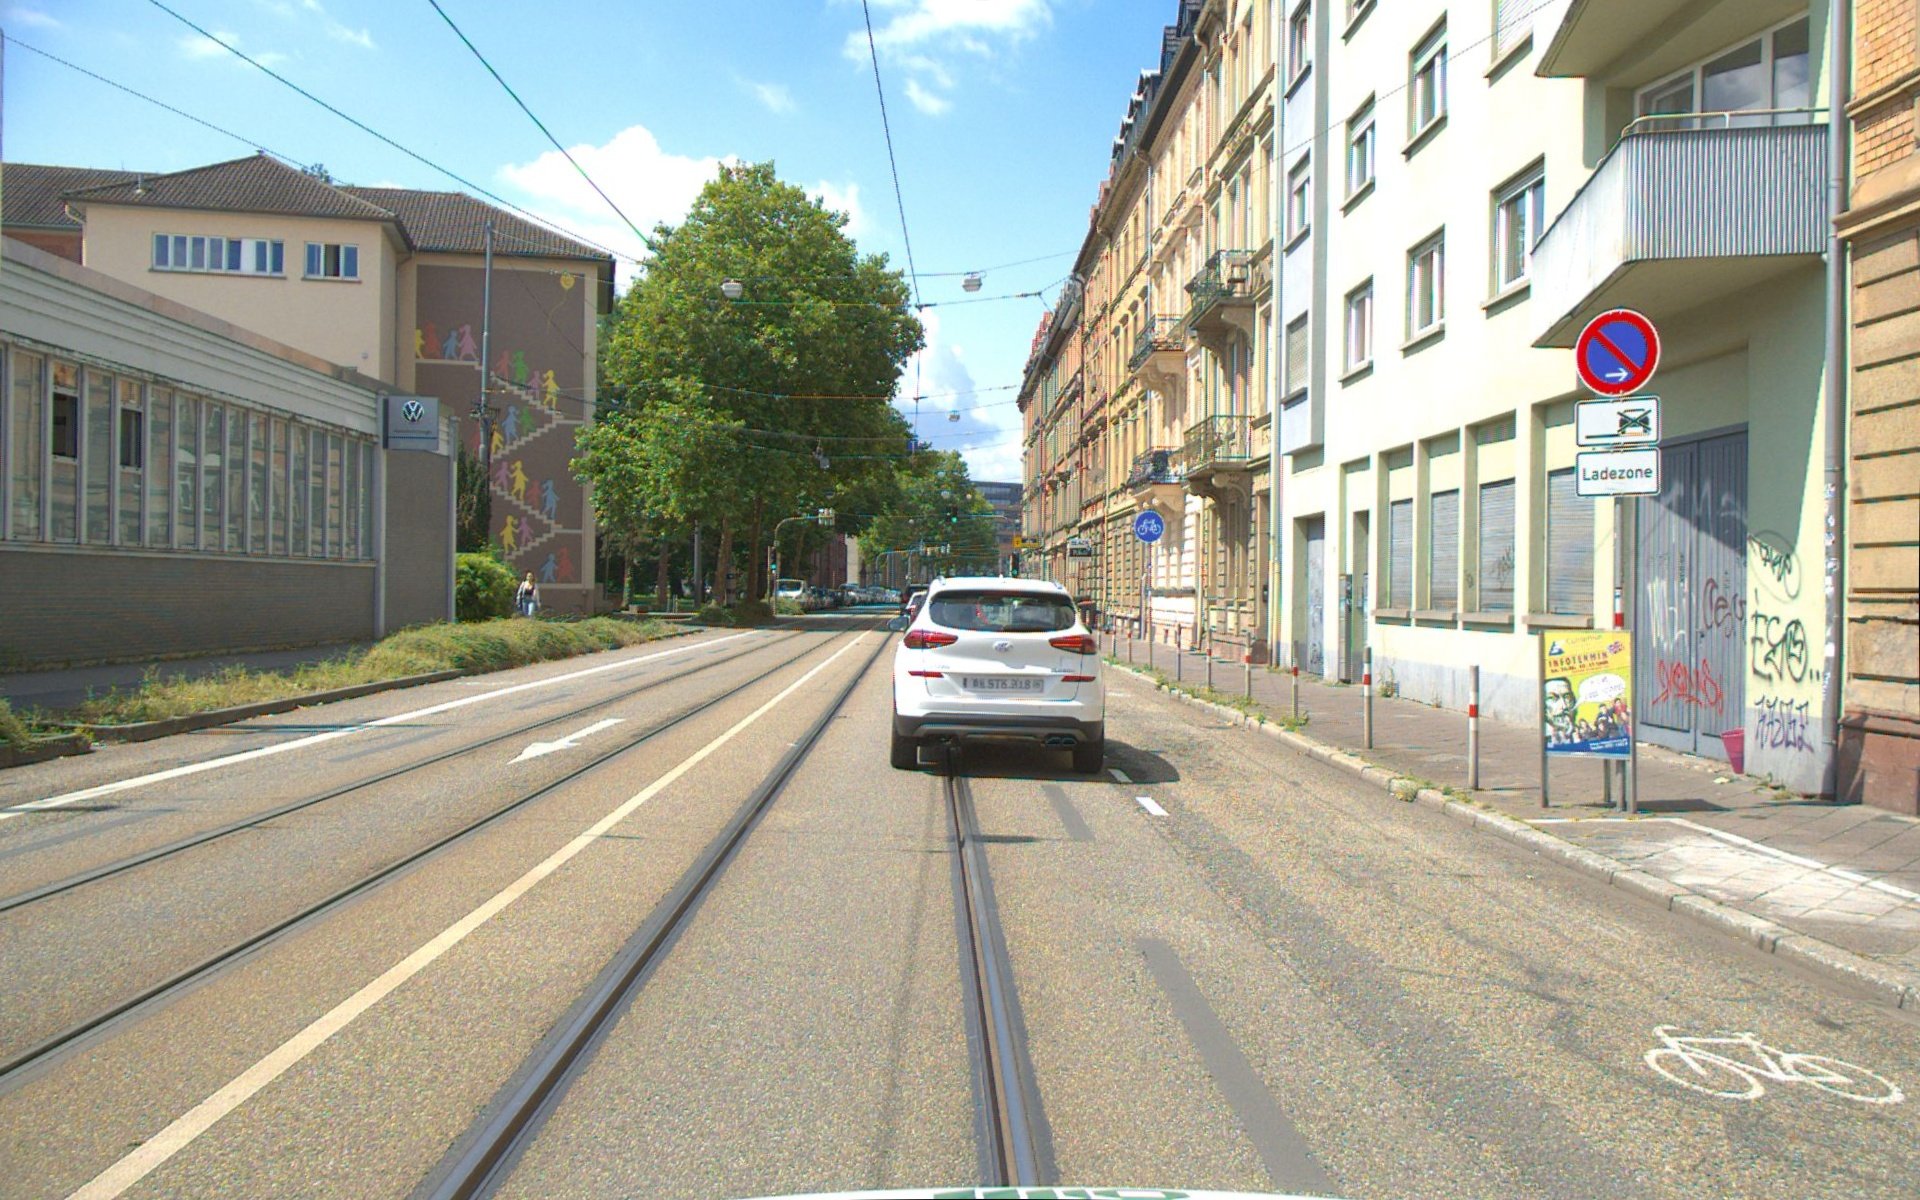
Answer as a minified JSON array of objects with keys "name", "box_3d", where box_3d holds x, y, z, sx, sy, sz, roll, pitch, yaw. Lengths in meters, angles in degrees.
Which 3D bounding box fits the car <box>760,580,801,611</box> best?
[{"name":"car","box_3d":[-10.176,-0.261,94.062,1.910,1.660,4.574,1,0,-1]}]

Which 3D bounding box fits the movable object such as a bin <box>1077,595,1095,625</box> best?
[{"name":"movable object such as a bin","box_3d":[4.921,0.377,64.572,0.600,1.163,0.638,1,0,-1]}]

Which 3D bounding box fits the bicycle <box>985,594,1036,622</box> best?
[{"name":"bicycle","box_3d":[2.219,0.353,72.901,2.222,1.164,0.584,1,0,-4]}]

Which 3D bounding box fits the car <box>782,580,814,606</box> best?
[{"name":"car","box_3d":[-10.500,-0.457,107.292,1.911,1.660,3.997,1,0,-4]}]

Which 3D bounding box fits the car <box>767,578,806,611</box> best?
[{"name":"car","box_3d":[-10.469,-0.335,100.075,1.910,1.928,4.564,1,0,-1]}]

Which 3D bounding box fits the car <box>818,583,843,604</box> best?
[{"name":"car","box_3d":[-10.420,-0.519,133.013,1.911,1.660,3.997,1,0,-4]}]

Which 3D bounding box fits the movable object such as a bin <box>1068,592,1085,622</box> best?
[{"name":"movable object such as a bin","box_3d":[4.635,0.272,65.995,0.600,1.163,0.638,1,0,-1]}]

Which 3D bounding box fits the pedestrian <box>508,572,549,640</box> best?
[{"name":"pedestrian","box_3d":[-12.171,0.155,46.640,0.862,1.898,1.081,-1,0,-1]}]

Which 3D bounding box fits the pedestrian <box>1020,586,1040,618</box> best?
[{"name":"pedestrian","box_3d":[3.576,0.098,84.327,0.919,1.600,1.049,1,0,-1]}]

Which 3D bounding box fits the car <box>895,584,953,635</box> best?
[{"name":"car","box_3d":[-1.159,0.285,53.289,1.777,1.551,3.955,1,0,-1]}]

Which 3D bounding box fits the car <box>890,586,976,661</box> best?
[{"name":"car","box_3d":[-0.571,0.466,36.420,1.777,1.551,4.085,0,0,0]}]

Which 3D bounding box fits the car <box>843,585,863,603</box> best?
[{"name":"car","box_3d":[-10.596,-0.591,164.265,1.911,1.660,3.997,1,0,-4]}]

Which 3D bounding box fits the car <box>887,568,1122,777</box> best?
[{"name":"car","box_3d":[0.272,0.576,15.459,1.815,1.662,4.178,1,0,-4]}]
